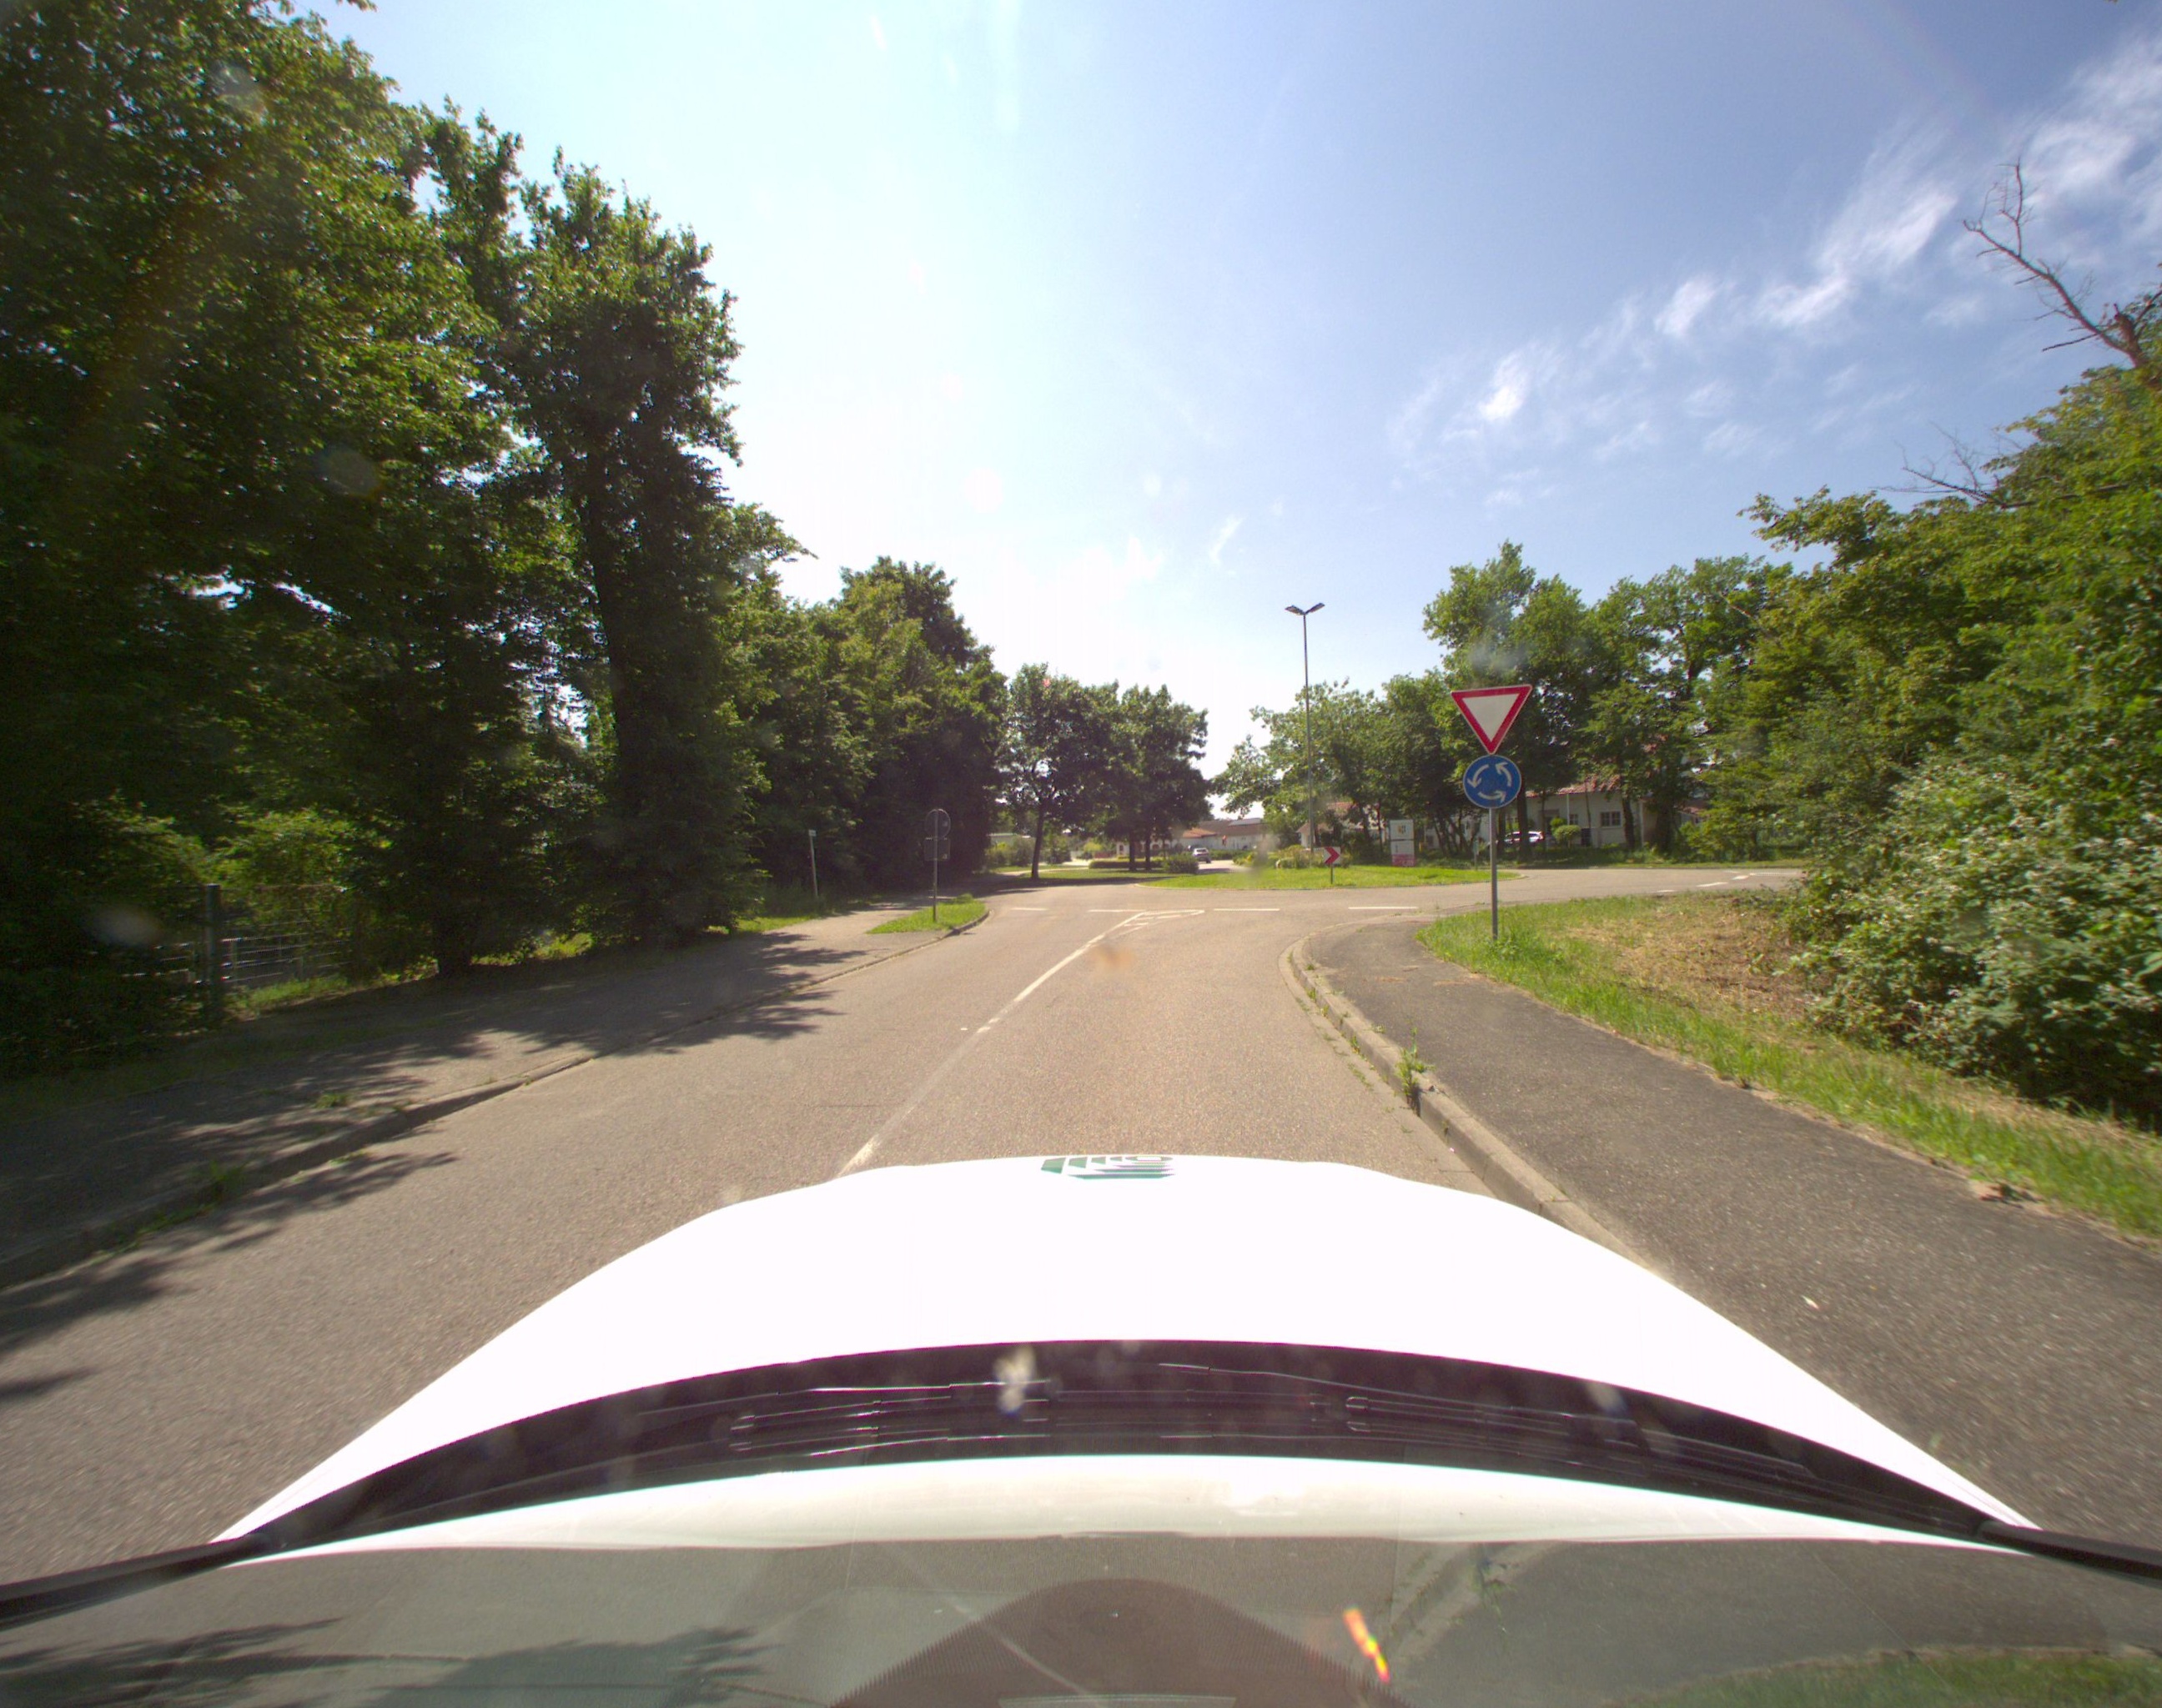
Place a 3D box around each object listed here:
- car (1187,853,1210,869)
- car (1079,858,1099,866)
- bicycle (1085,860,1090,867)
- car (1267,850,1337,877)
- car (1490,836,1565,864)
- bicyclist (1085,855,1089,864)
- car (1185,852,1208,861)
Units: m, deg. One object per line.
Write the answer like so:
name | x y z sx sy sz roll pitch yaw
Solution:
car | 11.143 0.652 77.199 1.622 1.486 4.001 -2 0 1
car | 1.436 1.447 146.734 2.005 1.288 3.963 -2 -1 -29
bicycle | 0.828 1.252 109.323 0.595 0.929 1.620 -2 0 0
car | 11.641 0.516 43.138 1.623 1.288 3.525 -2 -1 -27
car | 30.011 -0.259 54.861 1.672 1.705 4.101 -1 -1 -32
bicyclist | 0.812 0.759 109.293 0.595 1.164 0.648 -2 -1 0
car | 19.896 0.425 139.716 3.857 1.542 1.832 -1 -1 -42
